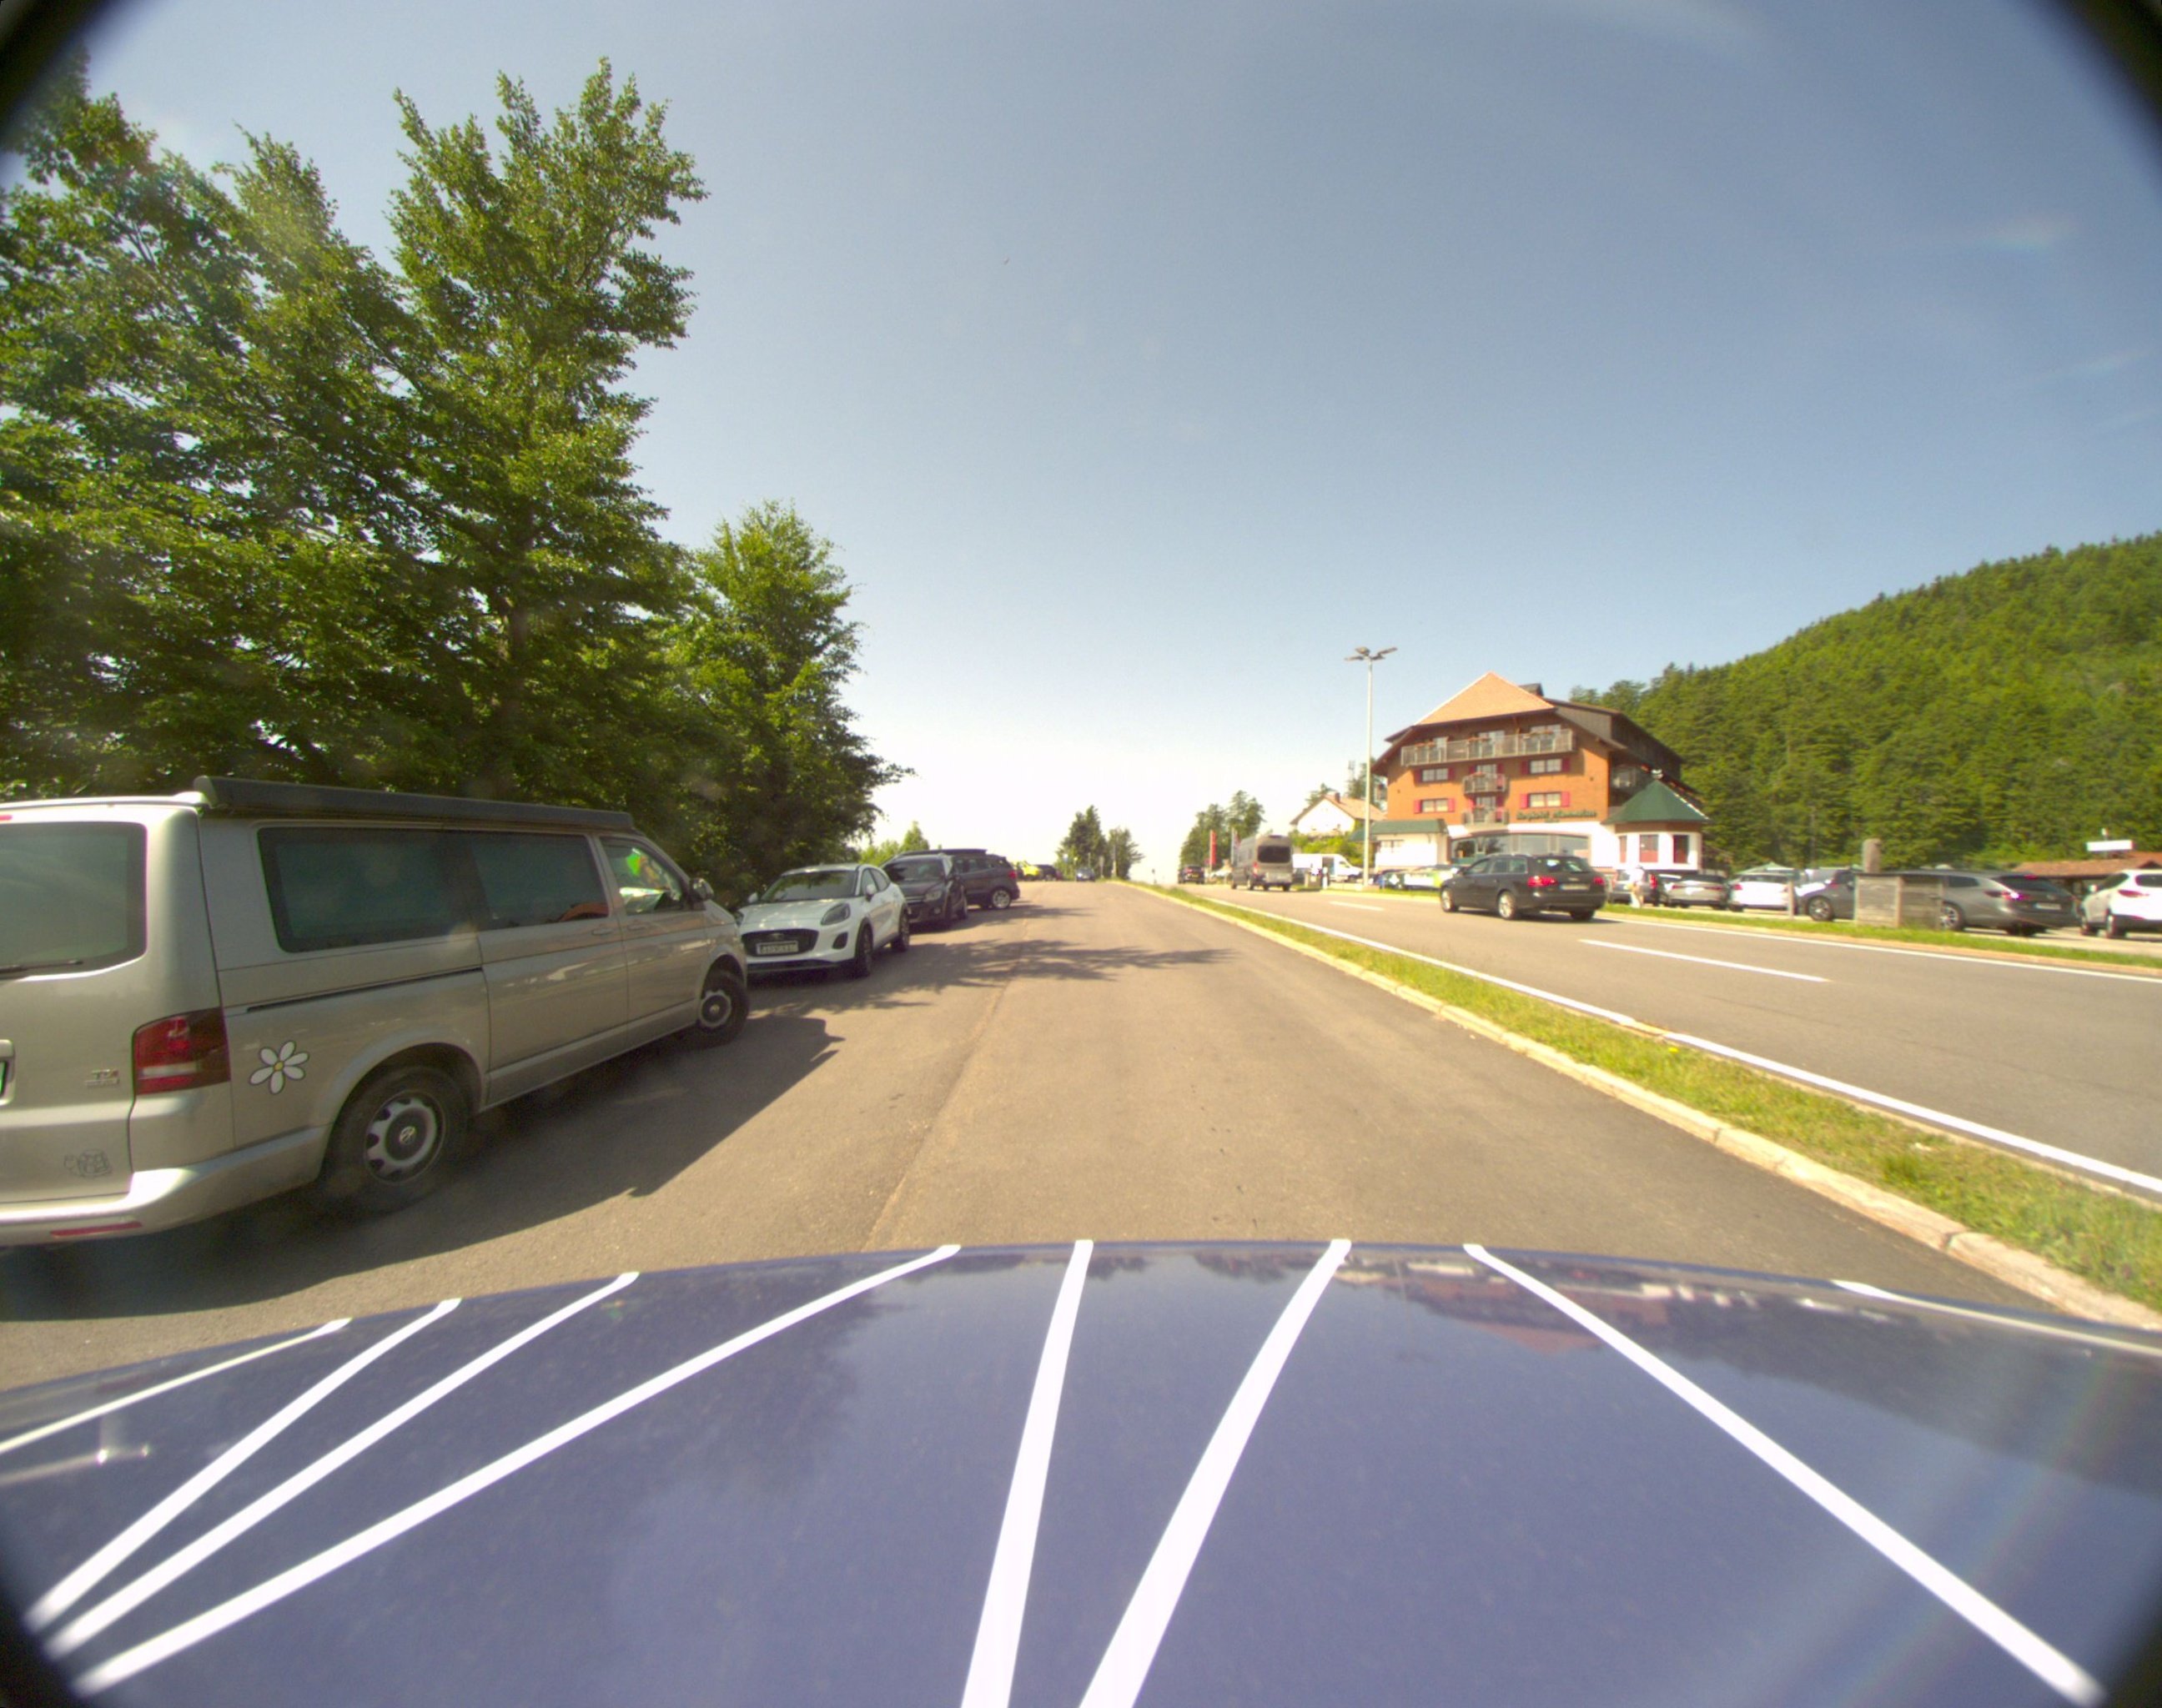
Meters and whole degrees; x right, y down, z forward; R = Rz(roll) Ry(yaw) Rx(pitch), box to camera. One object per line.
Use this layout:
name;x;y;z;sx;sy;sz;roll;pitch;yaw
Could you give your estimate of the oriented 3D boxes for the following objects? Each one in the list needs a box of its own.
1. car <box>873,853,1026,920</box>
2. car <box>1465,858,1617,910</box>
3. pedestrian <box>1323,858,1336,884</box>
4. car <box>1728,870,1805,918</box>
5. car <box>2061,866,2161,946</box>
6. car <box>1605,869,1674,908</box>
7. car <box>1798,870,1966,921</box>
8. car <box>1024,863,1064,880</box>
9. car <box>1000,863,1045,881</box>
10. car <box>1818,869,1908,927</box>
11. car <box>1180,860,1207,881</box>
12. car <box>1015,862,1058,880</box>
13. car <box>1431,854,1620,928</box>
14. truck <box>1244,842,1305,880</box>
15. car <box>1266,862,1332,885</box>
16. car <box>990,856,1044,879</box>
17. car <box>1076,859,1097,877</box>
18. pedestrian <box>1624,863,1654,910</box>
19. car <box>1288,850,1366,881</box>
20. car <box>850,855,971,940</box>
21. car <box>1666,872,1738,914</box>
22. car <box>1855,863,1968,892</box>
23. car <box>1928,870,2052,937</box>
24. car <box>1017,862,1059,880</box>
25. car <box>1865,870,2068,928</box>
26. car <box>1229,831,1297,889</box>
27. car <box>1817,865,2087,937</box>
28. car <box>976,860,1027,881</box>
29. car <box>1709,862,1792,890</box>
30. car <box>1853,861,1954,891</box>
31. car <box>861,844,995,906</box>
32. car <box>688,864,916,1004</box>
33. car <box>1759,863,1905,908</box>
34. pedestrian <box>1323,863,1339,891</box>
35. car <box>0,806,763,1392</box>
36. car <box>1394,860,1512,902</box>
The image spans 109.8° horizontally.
car;-3.797;0.886;21.876;4.003;1.609;1.873;-3;0;-20
car;16.083;0.995;26.699;4.258;1.619;1.828;1;0;42
pedestrian;17.800;1.218;54.417;0.673;1.853;0.752;1;0;6
car;24.221;1.330;26.804;1.818;1.504;4.104;1;0;45
car;24.789;1.157;17.583;1.914;1.705;4.104;1;0;43
car;24.289;1.440;32.989;1.818;1.504;4.104;1;0;45
car;29.127;1.449;27.848;4.082;1.619;1.828;1;0;42
car;-3.794;1.786;78.258;3.909;1.605;1.876;1;0;2
car;-5.279;1.616;68.745;3.909;1.605;1.876;1;0;2
car;24.498;1.295;23.892;1.818;1.619;4.104;1;0;45
car;9.663;1.402;65.444;1.721;1.672;4.130;0;0;-1
car;-4.153;1.550;71.592;3.909;1.605;1.876;1;0;2
car;9.738;0.734;17.140;1.710;1.429;4.450;1;0;1
truck;20.459;0.761;79.848;2.876;3.798;9.037;-2;-1;37
car;15.341;1.352;53.536;4.082;1.518;1.828;1;0;38
car;-5.491;1.122;65.523;4.456;1.914;1.876;1;0;1
car;0.444;1.291;71.077;1.875;1.605;3.912;1;0;-1
pedestrian;19.452;1.124;26.484;0.744;1.615;0.684;1;0;29
car;23.443;1.062;72.492;6.950;2.774;2.671;1;0;18
car;-3.751;0.886;17.405;1.875;1.609;3.999;-3;0;-2
car;24.731;1.496;30.214;1.818;1.504;4.104;1;0;45
car;53.946;1.465;49.526;4.831;1.705;1.925;1;0;43
car;25.336;1.303;21.314;1.818;1.619;4.104;1;0;45
car;-4.192;1.658;74.203;3.909;1.605;1.876;1;0;2
car;28.589;1.394;24.760;4.082;1.619;1.828;1;0;42
car;9.191;0.292;38.920;2.016;2.735;5.916;1;0;0
car;20.159;1.019;17.892;1.721;1.422;4.000;1;0;0
car;-6.532;1.342;62.797;3.909;1.605;1.876;1;0;2
car;44.983;1.449;51.068;4.082;1.705;1.925;1;0;43
car;50.710;1.312;46.961;4.082;1.705;1.925;1;0;43
car;-5.601;0.730;27.733;4.464;1.914;1.873;-3;0;-20
car;-3.790;0.996;11.158;1.875;1.538;3.999;-3;0;-2
car;30.159;1.214;30.723;4.082;1.619;1.828;1;0;42
pedestrian;17.876;1.647;54.370;0.719;2.002;0.800;0;0;-40
car;-4.052;0.861;4.842;1.861;1.924;4.610;-3;0;2
car;16.152;1.131;33.126;4.258;1.619;1.828;1;0;42
